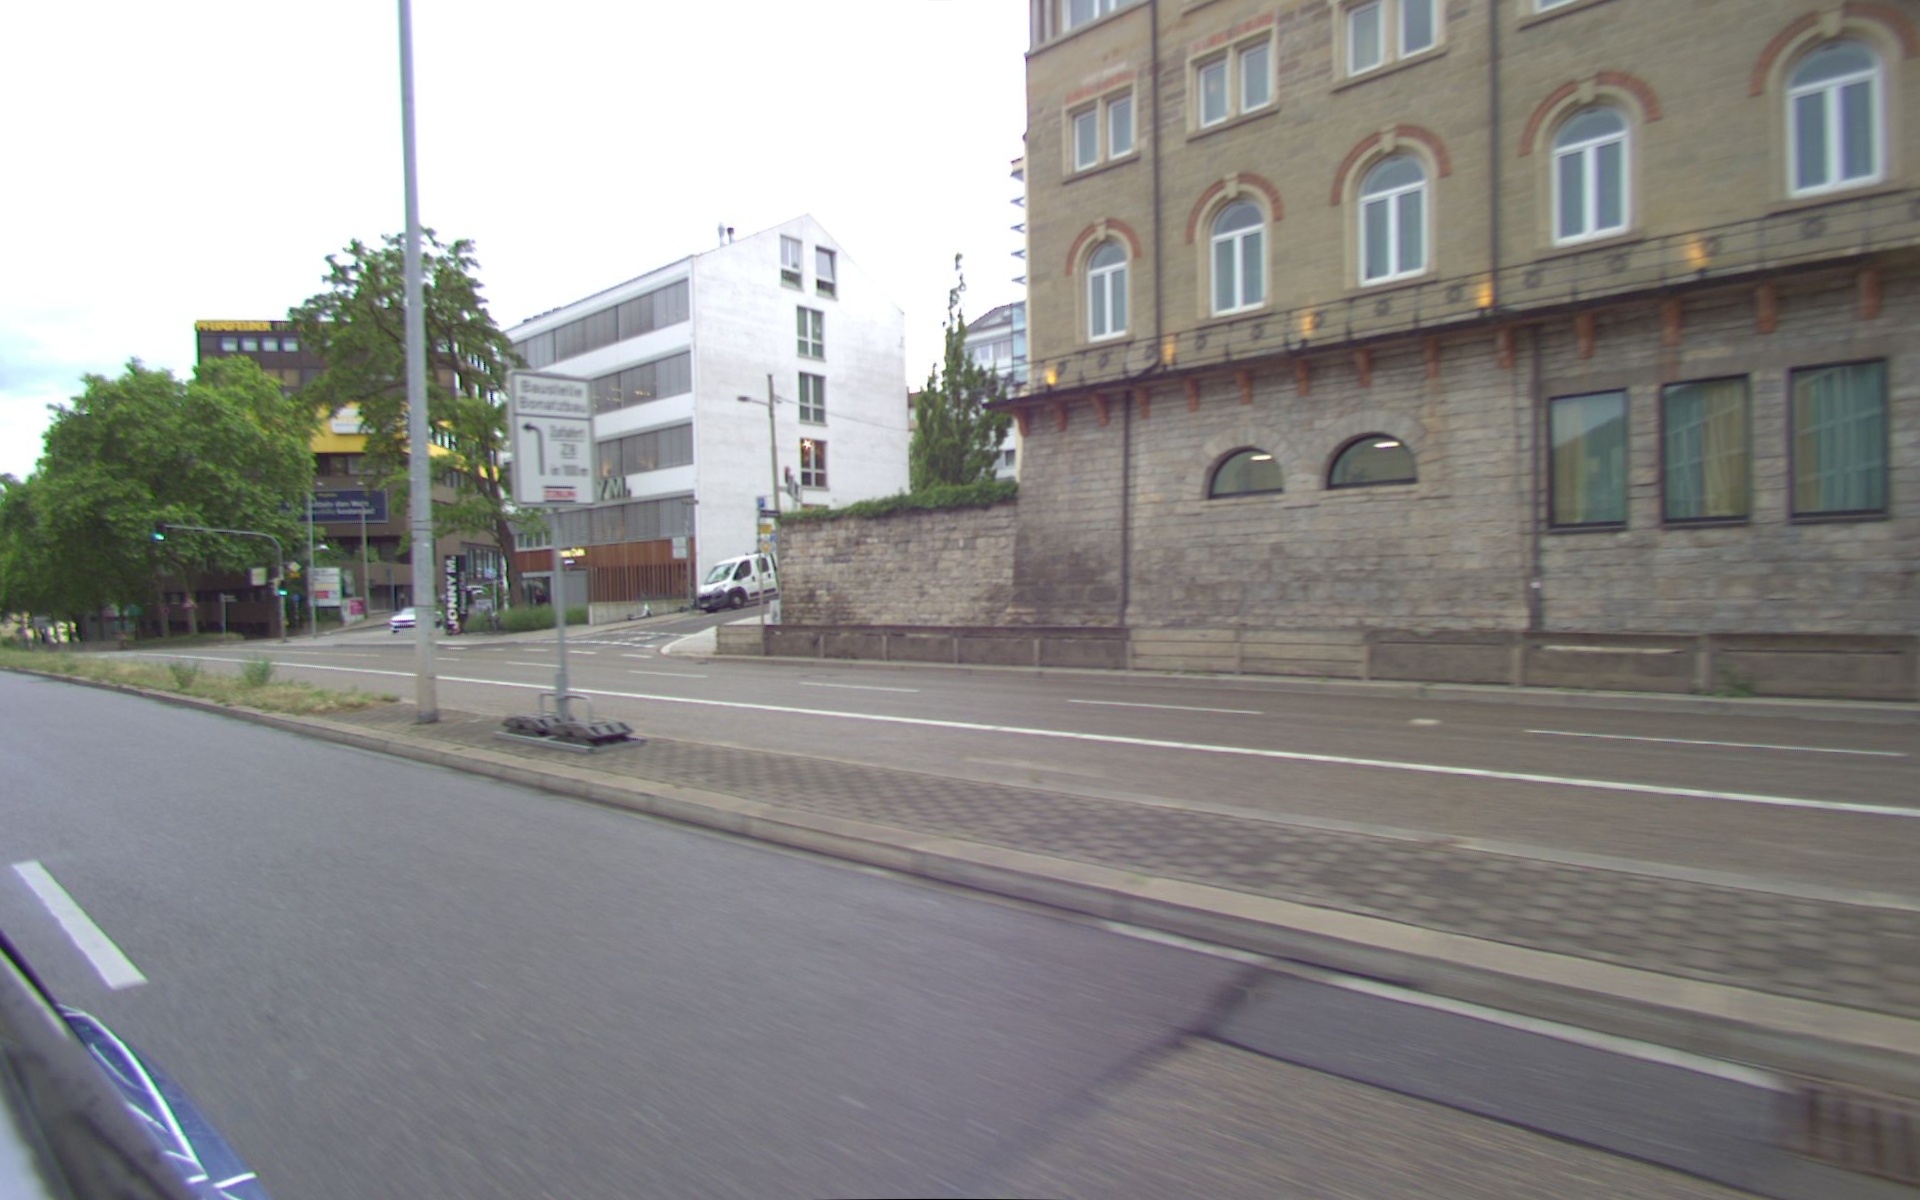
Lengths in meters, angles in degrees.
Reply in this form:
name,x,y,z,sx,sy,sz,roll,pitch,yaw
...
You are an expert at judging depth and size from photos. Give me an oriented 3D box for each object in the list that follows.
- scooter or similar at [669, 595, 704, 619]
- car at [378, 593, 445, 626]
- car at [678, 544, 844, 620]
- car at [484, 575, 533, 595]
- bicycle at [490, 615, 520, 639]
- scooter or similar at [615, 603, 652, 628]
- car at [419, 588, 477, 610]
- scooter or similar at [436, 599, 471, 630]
name,x,y,z,sx,sy,sz,roll,pitch,yaw
scooter or similar,-12.215,0.310,45.154,0.443,0.928,1.455,-3,4,38
car,-31.814,0.507,58.862,1.967,1.666,4.855,-3,2,-11
car,-8.572,-0.852,44.371,2.513,2.291,6.836,-7,3,41
car,-43.966,-1.459,98.545,3.938,1.696,1.824,-2,3,-6
bicycle,-19.510,1.150,43.414,1.757,0.999,0.452,-2,0,41
scooter or similar,-13.993,0.660,43.389,0.443,0.928,1.455,-3,4,38
car,-42.753,-0.082,84.623,3.938,1.696,1.823,-2,0,-6
scooter or similar,-22.934,0.642,45.831,0.366,1.256,1.750,-2,2,11
